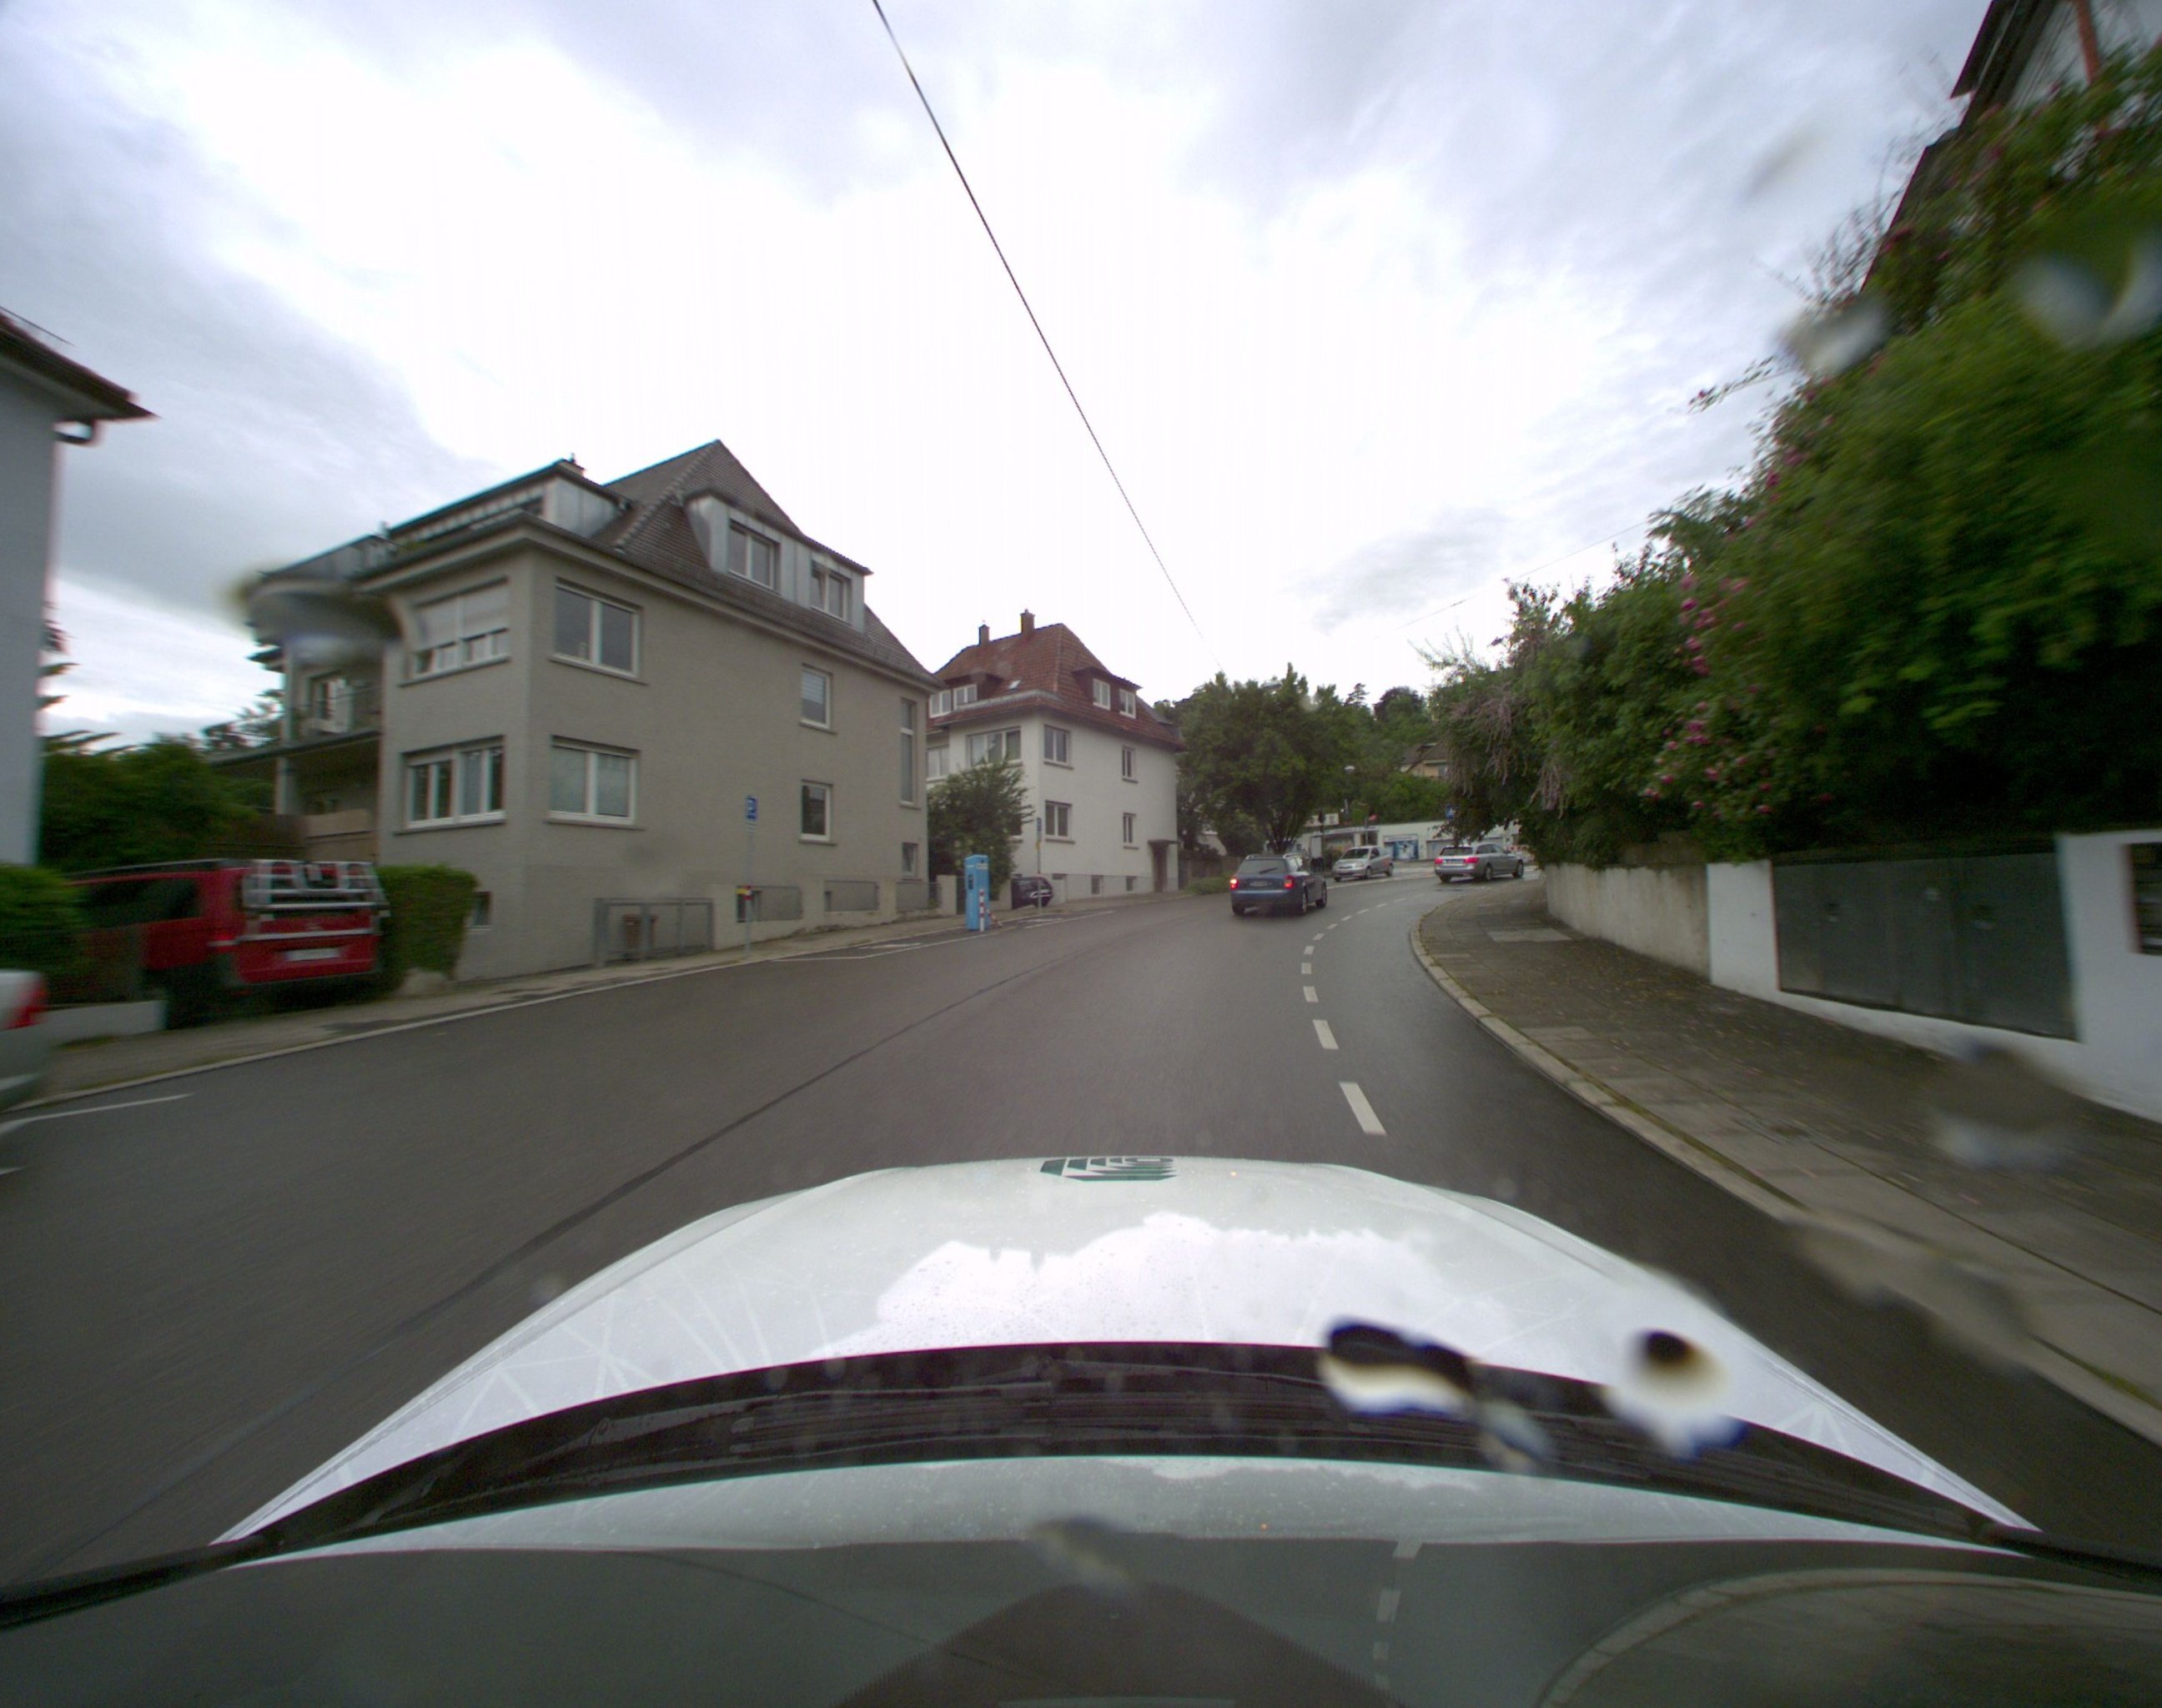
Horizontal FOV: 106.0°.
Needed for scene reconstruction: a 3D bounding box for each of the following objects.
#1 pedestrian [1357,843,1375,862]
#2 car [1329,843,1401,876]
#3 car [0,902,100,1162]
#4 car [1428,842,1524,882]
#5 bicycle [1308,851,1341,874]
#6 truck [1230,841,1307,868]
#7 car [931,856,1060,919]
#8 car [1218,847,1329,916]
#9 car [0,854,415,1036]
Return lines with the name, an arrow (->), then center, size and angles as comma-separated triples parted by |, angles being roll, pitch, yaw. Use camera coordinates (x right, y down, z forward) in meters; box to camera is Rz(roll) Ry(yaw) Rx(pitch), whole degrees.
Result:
pedestrian -> 23.324, -0.121, 66.606 | 0.894, 1.505, 0.969 | -3, 1, -32
car -> 13.114, 0.239, 37.492 | 3.878, 1.423, 1.473 | -1, 0, -43
car -> -7.039, 1.037, 2.899 | 1.828, 1.425, 4.232 | -2, 0, 3
car -> 15.082, 0.268, 31.012 | 4.021, 1.360, 1.796 | -2, 0, -40
bicycle -> 12.973, 0.439, 43.356 | 1.971, 1.085, 0.417 | -5, 1, -33
truck -> 16.420, 0.026, 71.787 | 2.325, 2.269, 6.734 | -1, 0, -37
car -> -3.117, 1.224, 29.444 | 4.198, 1.623, 2.013 | -11, -6, 34
car -> 4.940, 0.638, 20.496 | 1.794, 1.439, 4.105 | -4, 0, 25
car -> -11.242, 1.098, 10.366 | 3.964, 1.822, 2.005 | -5, -1, 8
